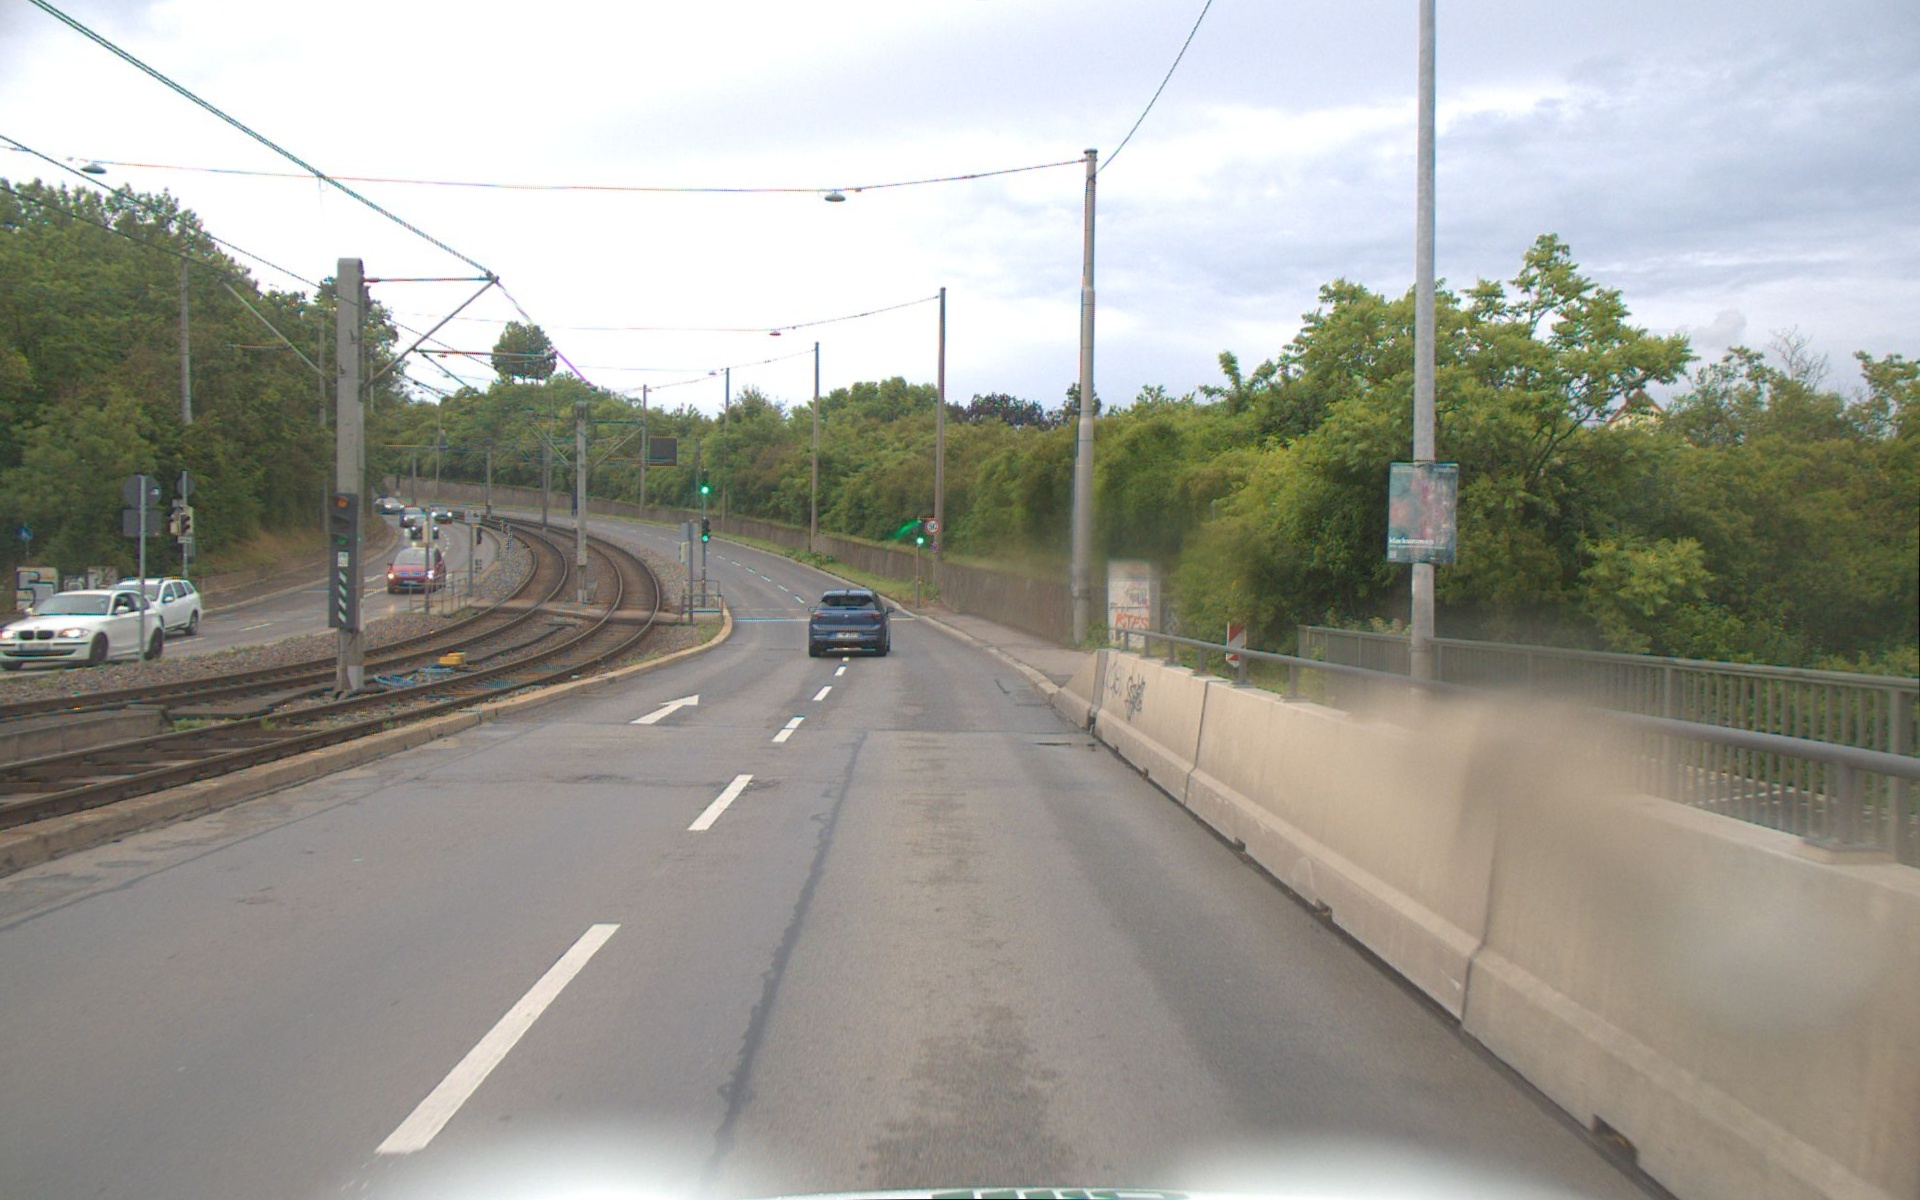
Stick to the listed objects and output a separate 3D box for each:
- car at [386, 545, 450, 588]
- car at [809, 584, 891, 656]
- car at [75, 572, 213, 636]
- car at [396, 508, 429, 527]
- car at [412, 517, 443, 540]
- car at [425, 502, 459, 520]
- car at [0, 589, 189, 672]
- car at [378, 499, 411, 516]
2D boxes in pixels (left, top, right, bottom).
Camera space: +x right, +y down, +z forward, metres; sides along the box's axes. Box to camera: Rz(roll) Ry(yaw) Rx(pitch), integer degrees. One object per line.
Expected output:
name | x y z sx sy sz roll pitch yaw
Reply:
car | -21.103 -1.313 64.564 1.815 1.625 4.719 -1 1 -11
car | -2.472 0.437 37.855 1.728 1.527 3.998 1 0 -2
car | -20.863 0.099 42.484 1.786 1.541 4.522 0 0 -7
car | -43.486 -6.561 131.314 1.798 1.403 4.665 -2 5 -27
car | -35.961 -4.841 111.834 1.687 1.483 4.261 -1 3 -14
car | -43.245 -7.437 138.055 1.619 1.408 3.849 -3 4 -34
car | -16.663 0.565 31.938 1.696 1.462 4.488 -1 0 -4
car | -54.202 -8.909 158.407 1.845 1.463 4.800 -4 6 -33
